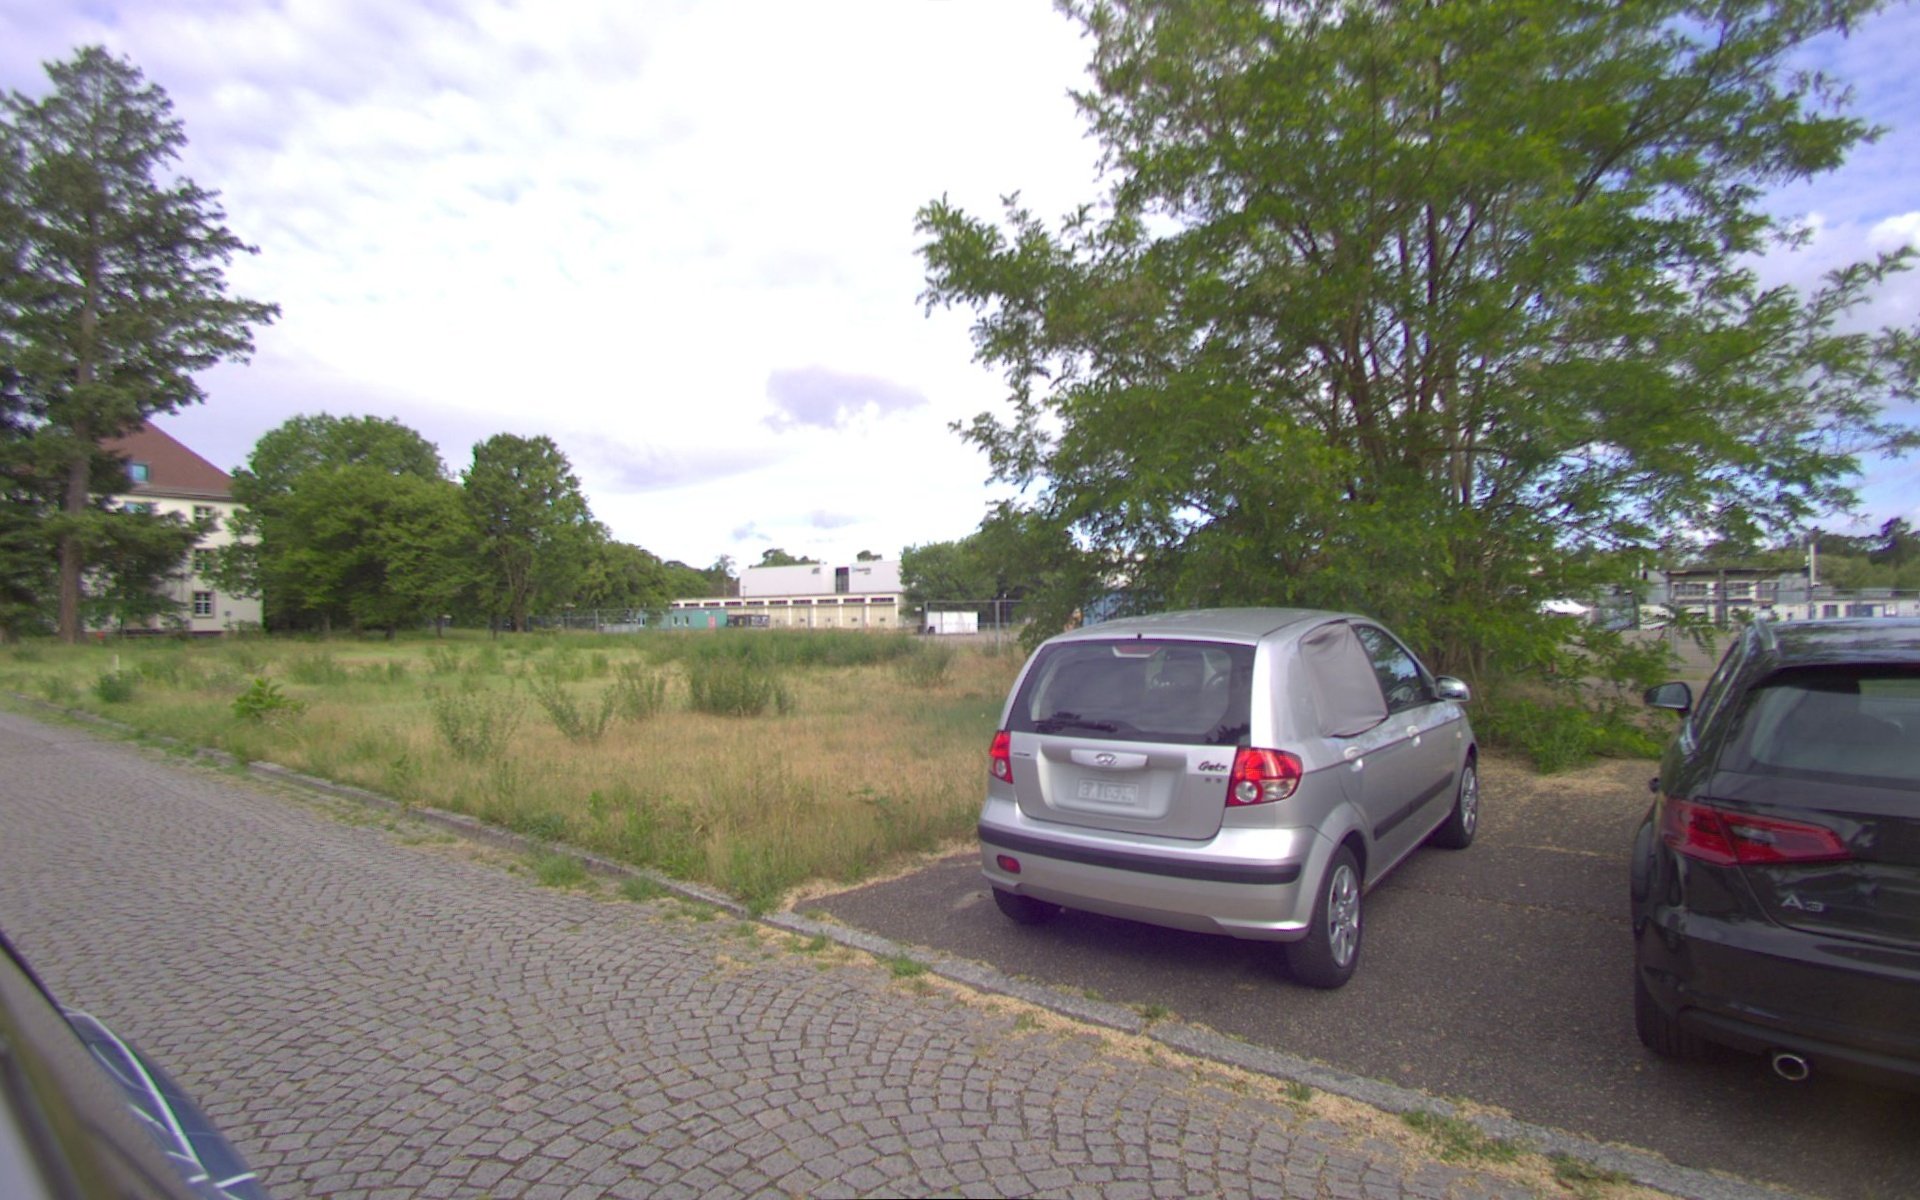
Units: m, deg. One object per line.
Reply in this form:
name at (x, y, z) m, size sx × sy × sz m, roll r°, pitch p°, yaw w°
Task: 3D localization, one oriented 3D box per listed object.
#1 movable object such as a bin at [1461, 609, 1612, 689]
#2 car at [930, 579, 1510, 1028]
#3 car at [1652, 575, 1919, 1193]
movable object such as a bin at (9.272, 0.746, 16.237) m, size 2.364 × 1.170 × 1.501 m, roll 1°, pitch -2°, yaw -44°
car at (1.675, 0.683, 5.461) m, size 1.805 × 1.463 × 3.646 m, roll -2°, pitch 1°, yaw 36°
car at (3.835, 0.653, 3.759) m, size 1.749 × 1.438 × 3.948 m, roll -1°, pitch 1°, yaw 39°
